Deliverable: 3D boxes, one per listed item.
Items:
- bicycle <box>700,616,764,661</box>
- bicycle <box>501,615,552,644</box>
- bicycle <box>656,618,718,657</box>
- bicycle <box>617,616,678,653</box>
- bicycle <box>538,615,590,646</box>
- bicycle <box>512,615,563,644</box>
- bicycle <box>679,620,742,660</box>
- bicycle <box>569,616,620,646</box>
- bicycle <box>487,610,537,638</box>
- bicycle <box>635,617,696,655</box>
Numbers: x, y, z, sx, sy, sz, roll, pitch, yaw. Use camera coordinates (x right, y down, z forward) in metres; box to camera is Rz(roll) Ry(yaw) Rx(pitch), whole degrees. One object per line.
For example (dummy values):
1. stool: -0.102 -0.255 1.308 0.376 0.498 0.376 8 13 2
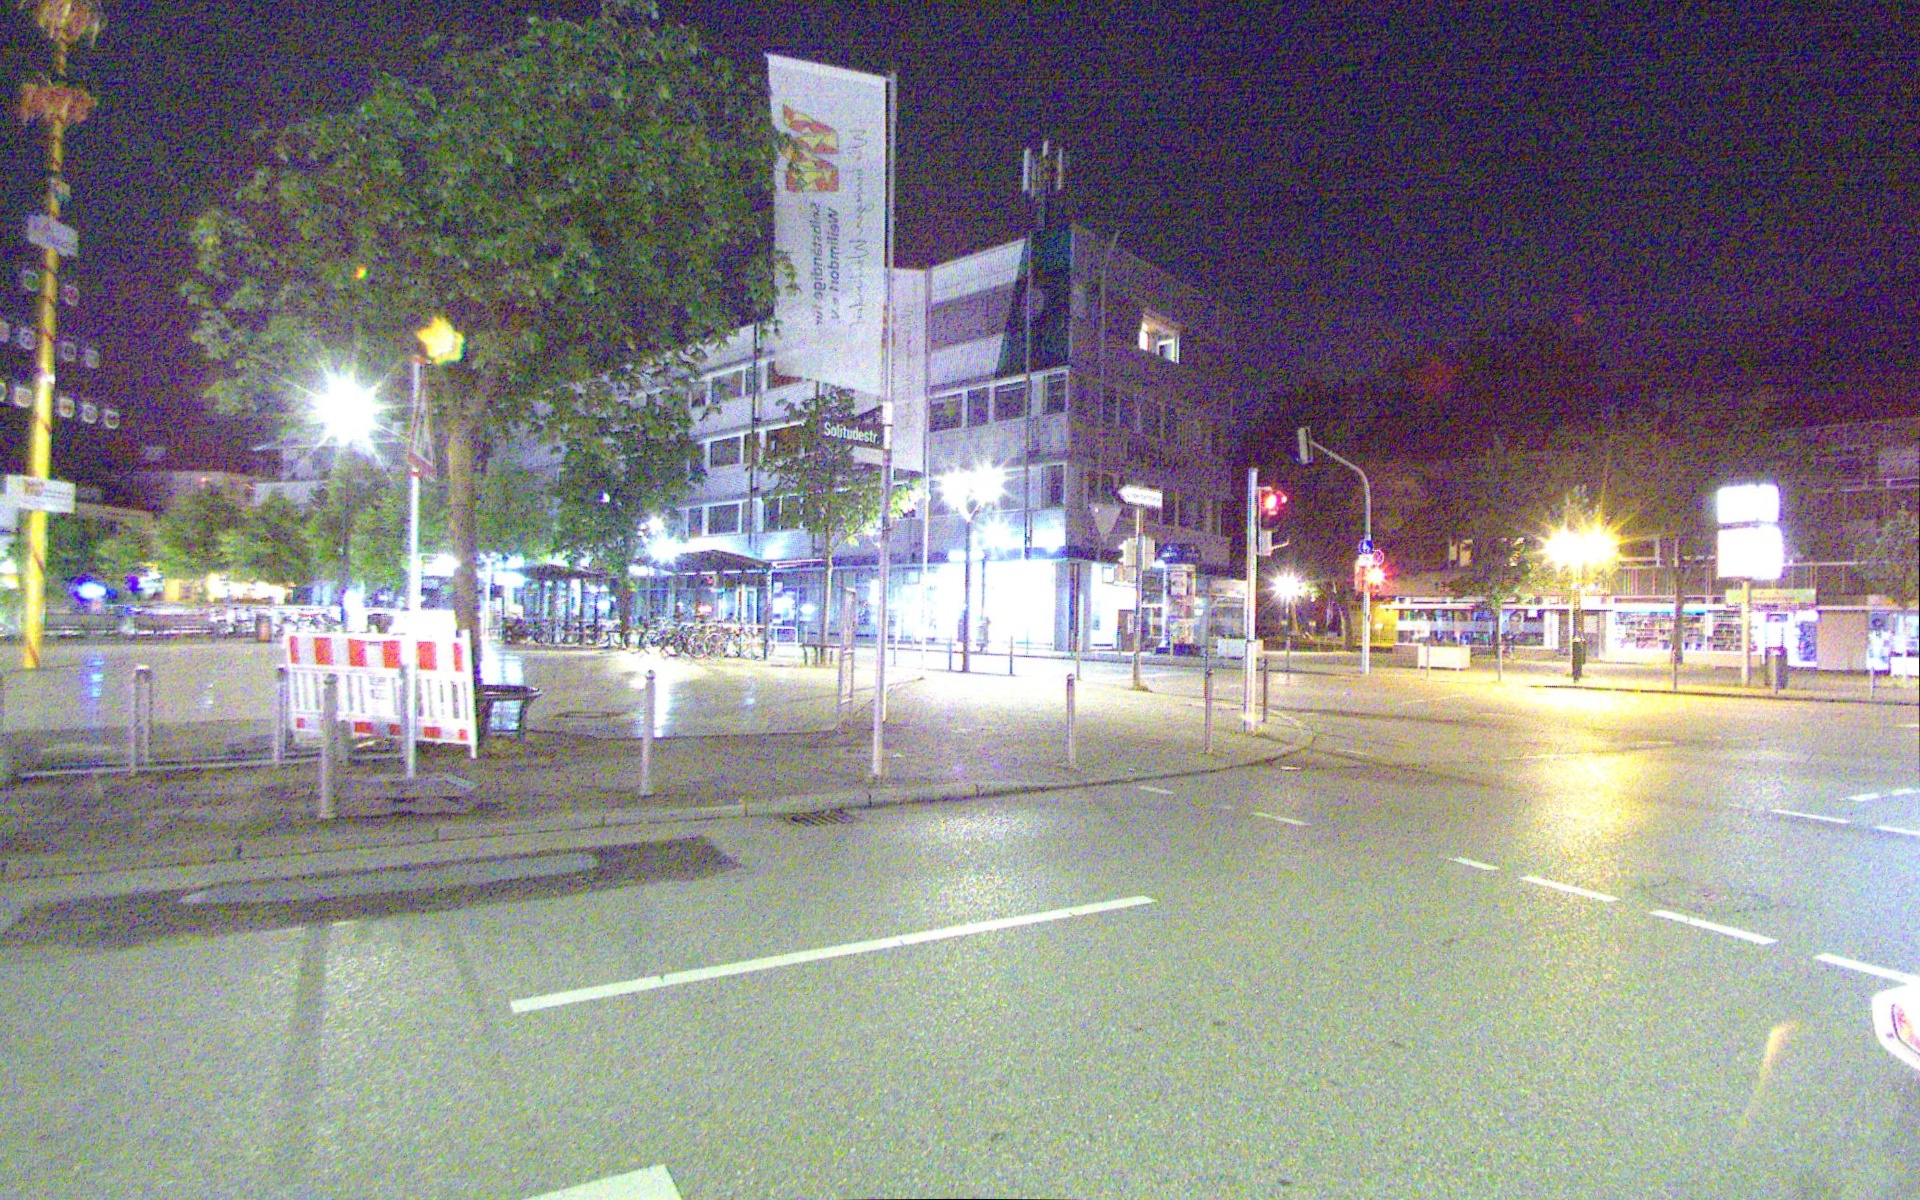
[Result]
1. bicycle: -5.645 0.950 24.926 0.440 1.068 1.525 2 0 43
2. bicycle: -14.822 0.999 34.373 0.473 0.970 1.525 2 0 44
3. bicycle: -7.102 0.970 26.142 0.473 0.970 1.525 2 0 44
4. bicycle: -8.526 0.943 27.424 0.473 0.970 1.525 2 0 44
5. bicycle: -13.065 1.006 33.171 0.473 0.970 1.525 2 0 44
6. bicycle: -14.179 0.991 33.739 0.473 0.970 1.525 2 0 44
7. bicycle: -6.333 1.002 25.548 0.440 0.970 1.525 2 0 43
8. bicycle: -12.013 1.018 33.031 0.473 0.970 1.525 2 0 44
9. bicycle: -15.545 0.836 34.884 0.473 0.970 1.525 2 0 44
10. bicycle: -7.846 0.961 26.823 0.473 0.970 1.525 2 0 44
